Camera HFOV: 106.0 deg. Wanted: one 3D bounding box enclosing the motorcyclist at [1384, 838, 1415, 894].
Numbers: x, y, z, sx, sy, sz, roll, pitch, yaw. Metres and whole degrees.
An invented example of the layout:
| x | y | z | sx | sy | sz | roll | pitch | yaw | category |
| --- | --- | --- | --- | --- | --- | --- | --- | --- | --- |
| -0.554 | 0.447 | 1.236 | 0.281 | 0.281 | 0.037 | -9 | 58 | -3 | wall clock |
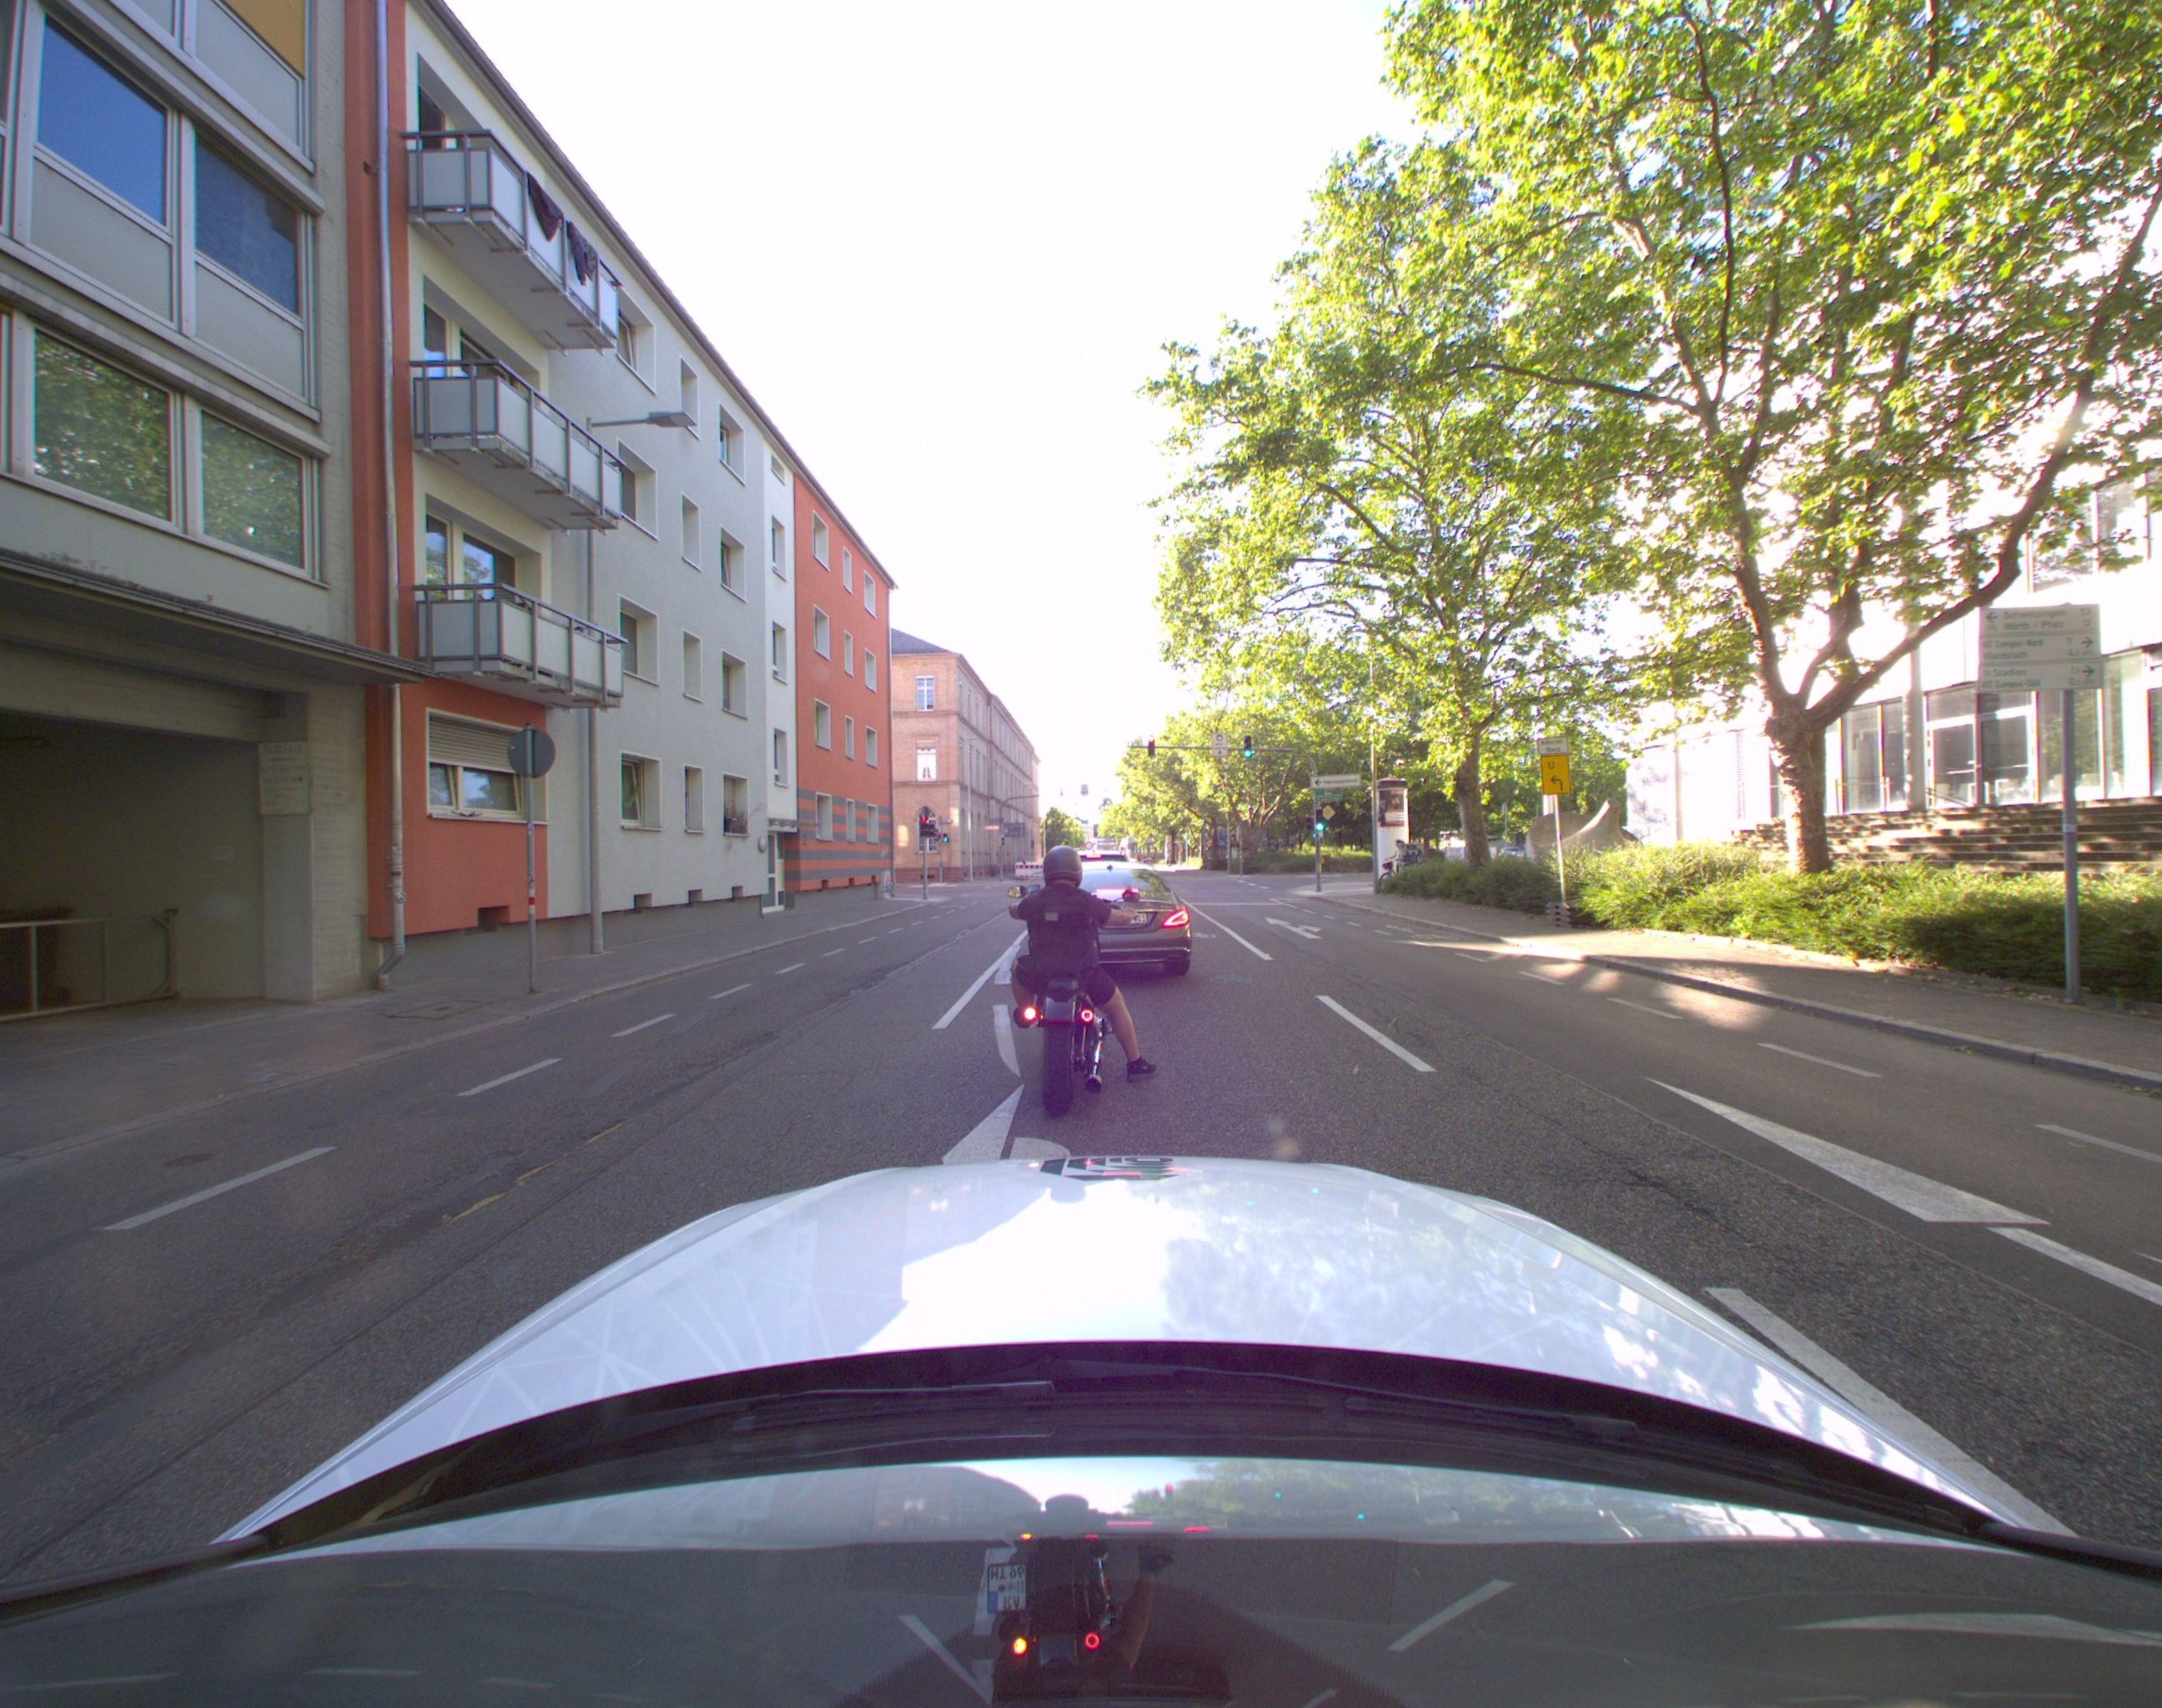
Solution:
| x | y | z | sx | sy | sz | roll | pitch | yaw | category |
| --- | --- | --- | --- | --- | --- | --- | --- | --- | --- |
| 10.768 | 0.393 | 27.566 | 0.818 | 1.863 | 0.673 | 0 | -1 | 7 | motorcyclist |

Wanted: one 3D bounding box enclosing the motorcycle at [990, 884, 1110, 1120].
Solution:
| x | y | z | sx | sy | sz | roll | pitch | yaw | category |
| --- | --- | --- | --- | --- | --- | --- | --- | --- | --- |
| -0.141 | 0.858 | 5.538 | 0.657 | 1.240 | 2.058 | 0 | -1 | 2 | motorcycle |

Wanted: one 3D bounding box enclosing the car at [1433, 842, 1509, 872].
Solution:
| x | y | z | sx | sy | sz | roll | pitch | yaw | category |
| --- | --- | --- | --- | --- | --- | --- | --- | --- | --- |
| 24.628 | 0.205 | 51.521 | 3.974 | 1.772 | 1.738 | -1 | 0 | -1 | car |

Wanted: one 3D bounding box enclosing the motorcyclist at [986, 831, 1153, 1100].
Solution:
| x | y | z | sx | sy | sz | roll | pitch | yaw | category |
| --- | --- | --- | --- | --- | --- | --- | --- | --- | --- |
| -0.052 | 0.673 | 5.446 | 0.986 | 1.611 | 1.121 | 0 | -1 | 1 | motorcyclist |

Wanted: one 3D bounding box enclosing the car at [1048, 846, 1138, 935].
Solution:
| x | y | z | sx | sy | sz | roll | pitch | yaw | category |
| --- | --- | --- | --- | --- | --- | --- | --- | --- | --- |
| 0.287 | 0.691 | 17.092 | 1.645 | 1.652 | 4.002 | 0 | -1 | 2 | car |

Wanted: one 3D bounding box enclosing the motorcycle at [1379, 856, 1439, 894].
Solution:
| x | y | z | sx | sy | sz | roll | pitch | yaw | category |
| --- | --- | --- | --- | --- | --- | --- | --- | --- | --- |
| 11.071 | 0.712 | 27.542 | 1.771 | 1.243 | 0.724 | 0 | -1 | 7 | motorcycle |

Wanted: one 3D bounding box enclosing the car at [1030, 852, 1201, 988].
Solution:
| x | y | z | sx | sy | sz | roll | pitch | yaw | category |
| --- | --- | --- | --- | --- | --- | --- | --- | --- | --- |
| 0.262 | 0.746 | 11.241 | 1.821 | 1.486 | 4.325 | 0 | 0 | -5 | car |
